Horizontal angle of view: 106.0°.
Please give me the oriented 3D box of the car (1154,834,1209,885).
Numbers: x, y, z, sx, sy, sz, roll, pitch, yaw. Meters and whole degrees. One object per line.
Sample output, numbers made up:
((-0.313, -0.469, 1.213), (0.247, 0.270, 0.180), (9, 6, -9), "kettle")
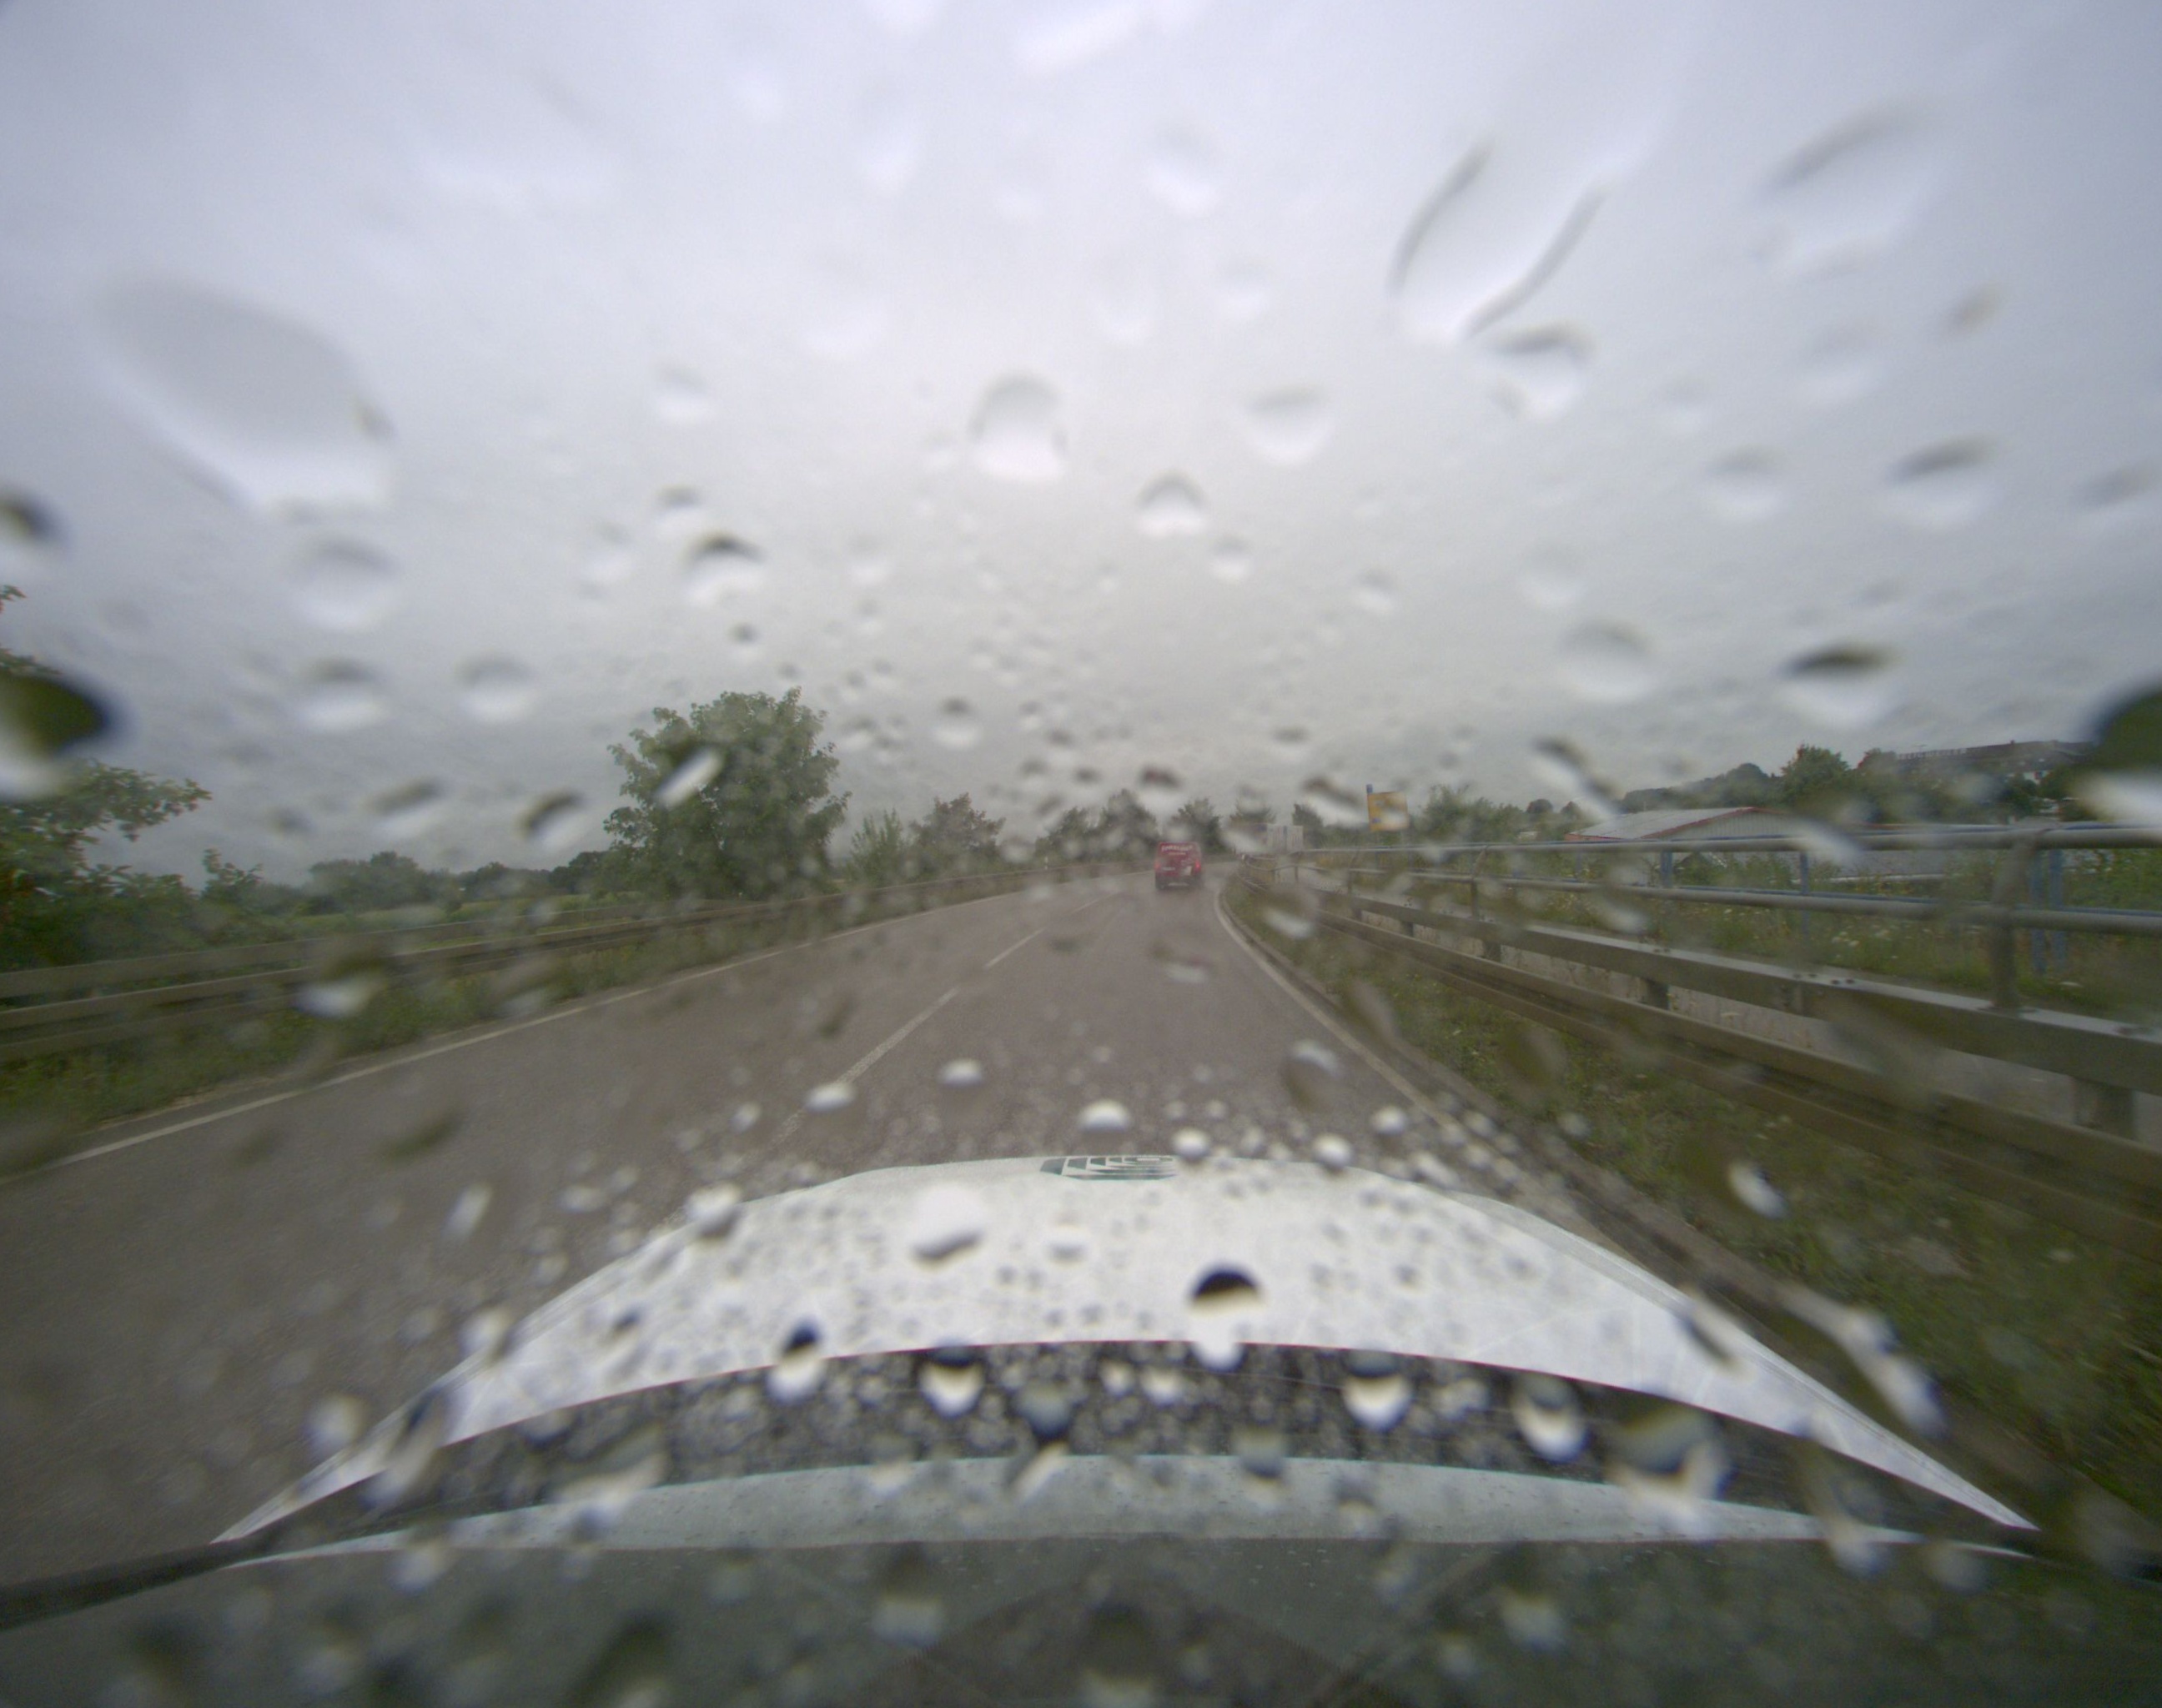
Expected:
((4.267, 0.182, 34.090), (1.981, 1.925, 4.156), (-2, 1, 10), "car")

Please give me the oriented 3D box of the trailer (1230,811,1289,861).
((15.255, -1.470, 69.017), (3.173, 3.921, 8.788), (0, 0, 23), "trailer")

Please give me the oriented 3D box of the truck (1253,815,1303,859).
((18.771, -1.528, 77.074), (3.173, 3.921, 8.788), (0, 0, 23), "truck")
